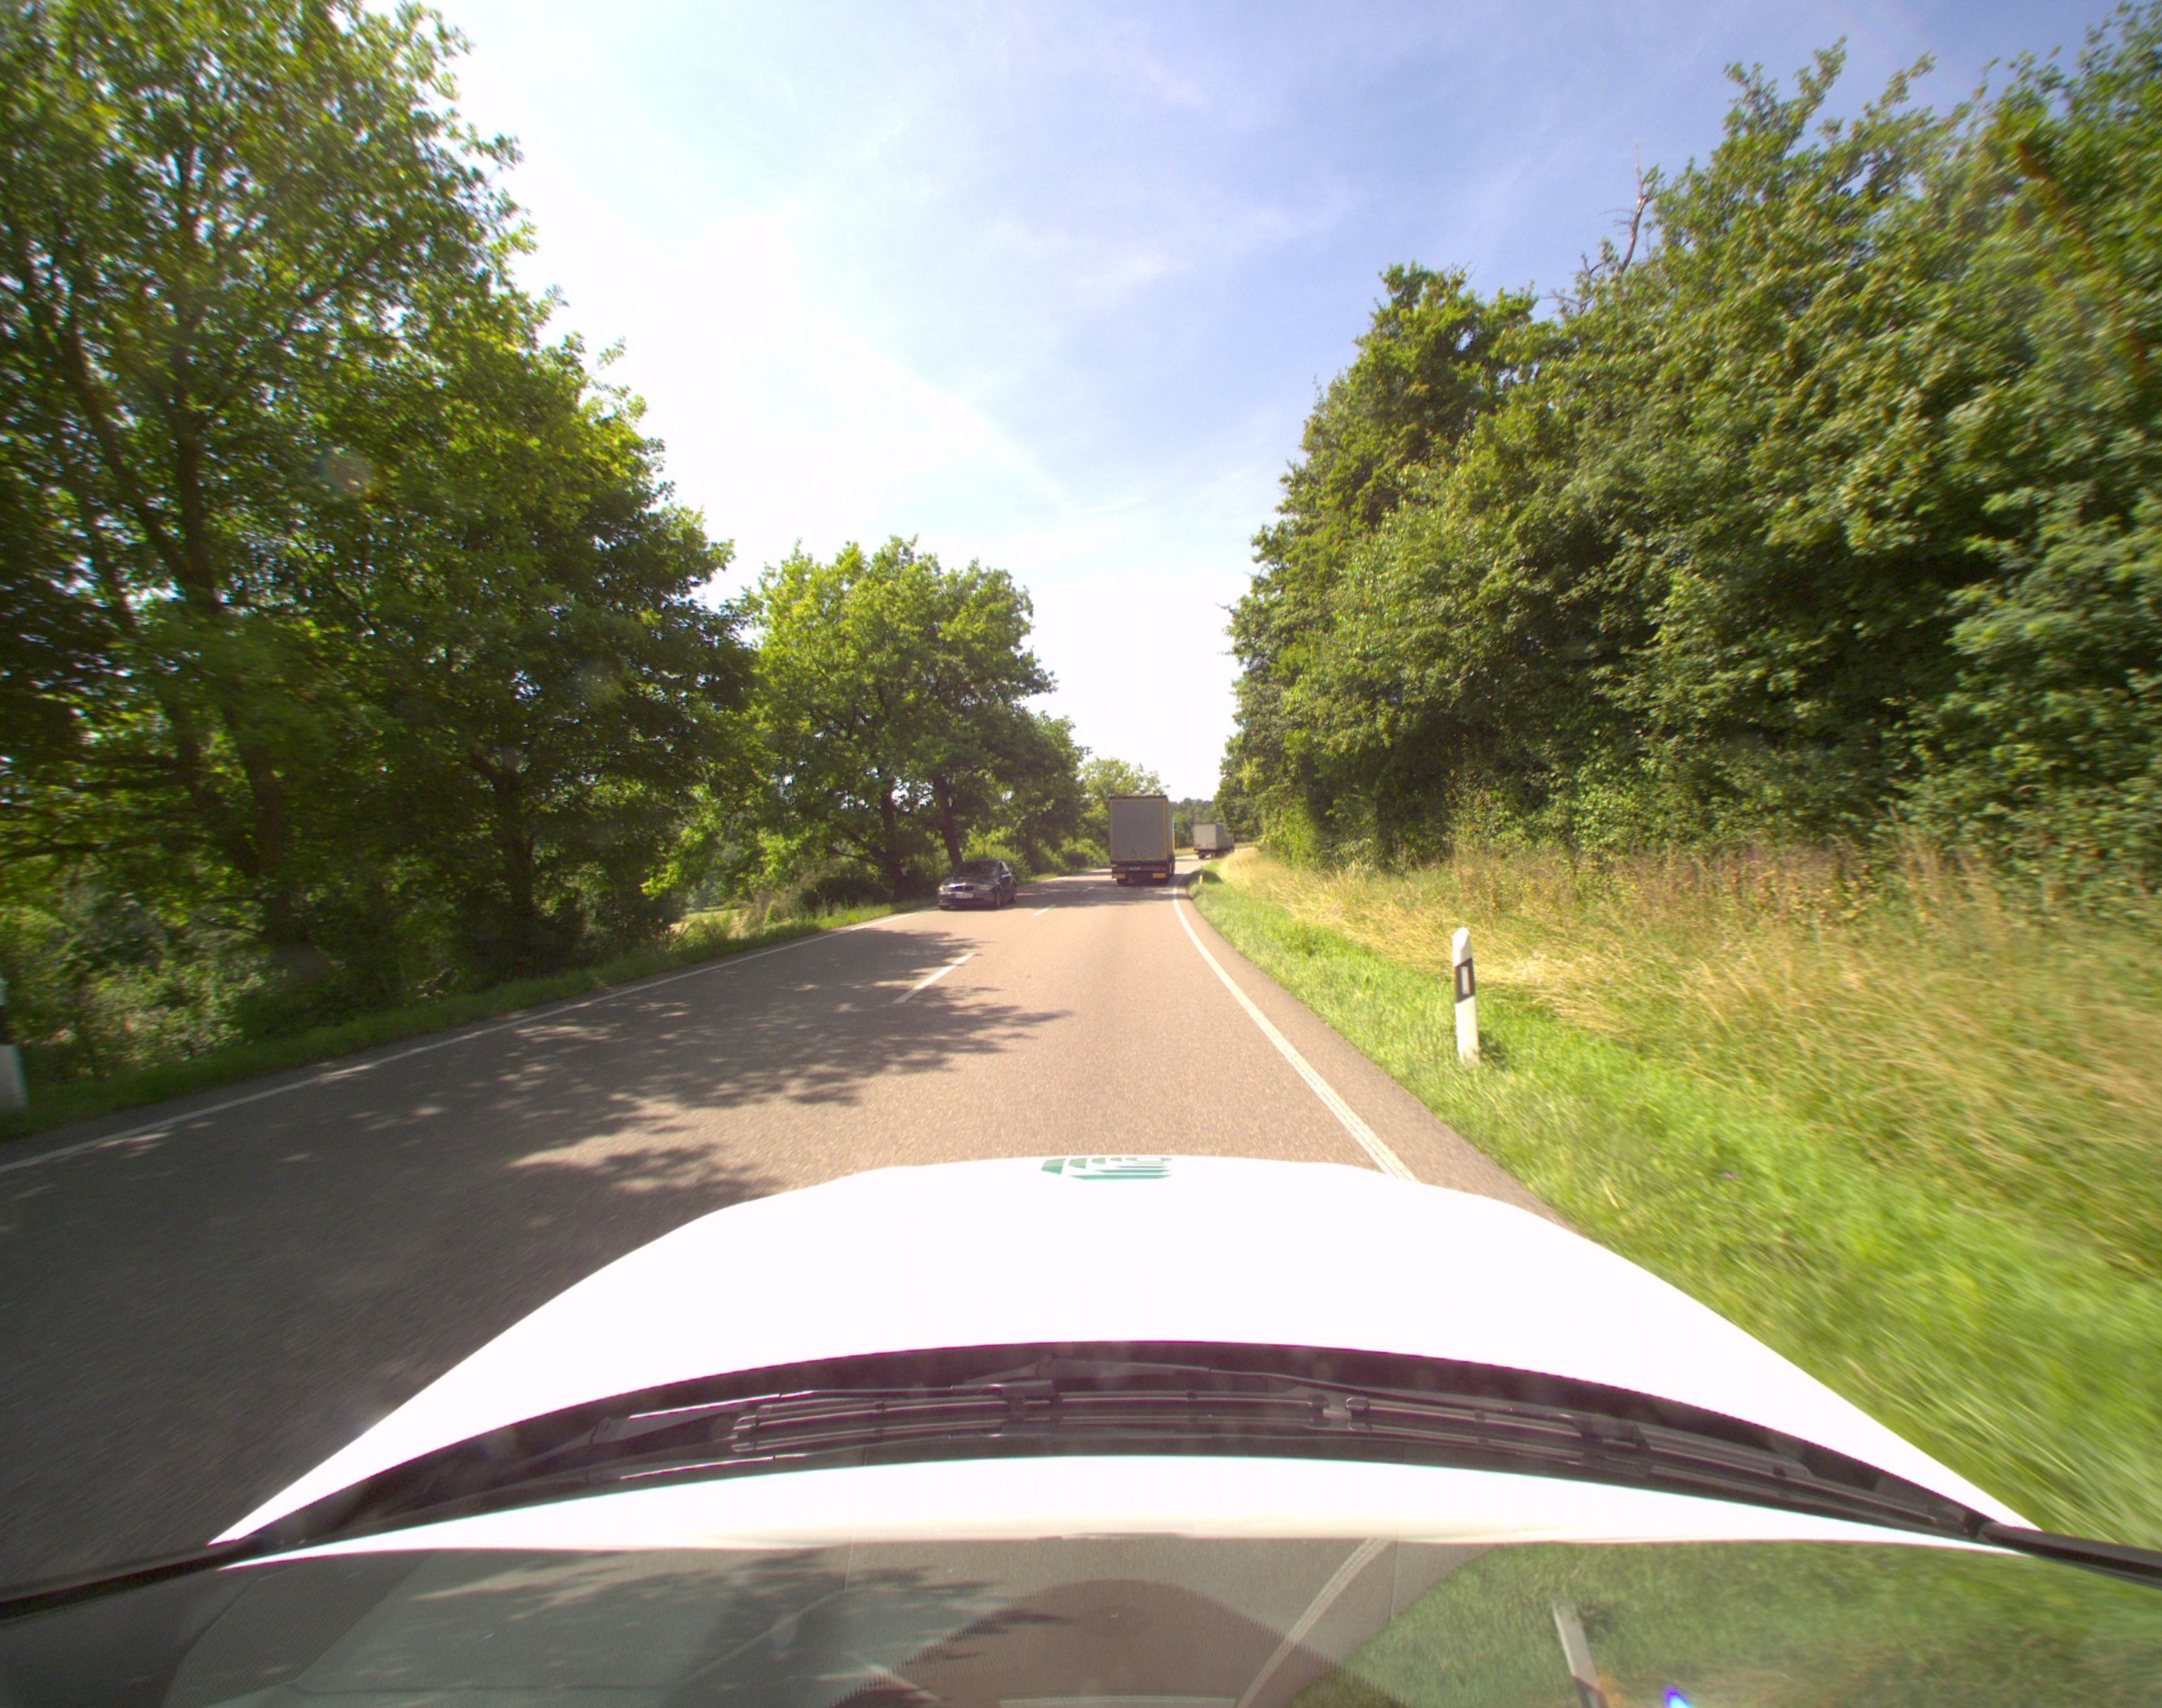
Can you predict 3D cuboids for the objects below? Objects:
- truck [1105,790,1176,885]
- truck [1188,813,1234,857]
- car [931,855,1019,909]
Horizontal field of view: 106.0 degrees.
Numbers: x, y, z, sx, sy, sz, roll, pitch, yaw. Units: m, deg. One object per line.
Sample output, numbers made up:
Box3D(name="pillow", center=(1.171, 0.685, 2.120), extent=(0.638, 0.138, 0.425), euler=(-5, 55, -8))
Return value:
Box3D(name="truck", center=(3.468, -0.819, 43.037), extent=(2.786, 4.068, 15.358), euler=(-1, 1, 7))
Box3D(name="truck", center=(15.805, -2.248, 97.512), extent=(3.081, 4.705, 16.664), euler=(-2, 1, 17))
Box3D(name="car", center=(-3.093, 0.786, 24.572), extent=(1.751, 1.432, 4.274), euler=(-2, 0, 4))
